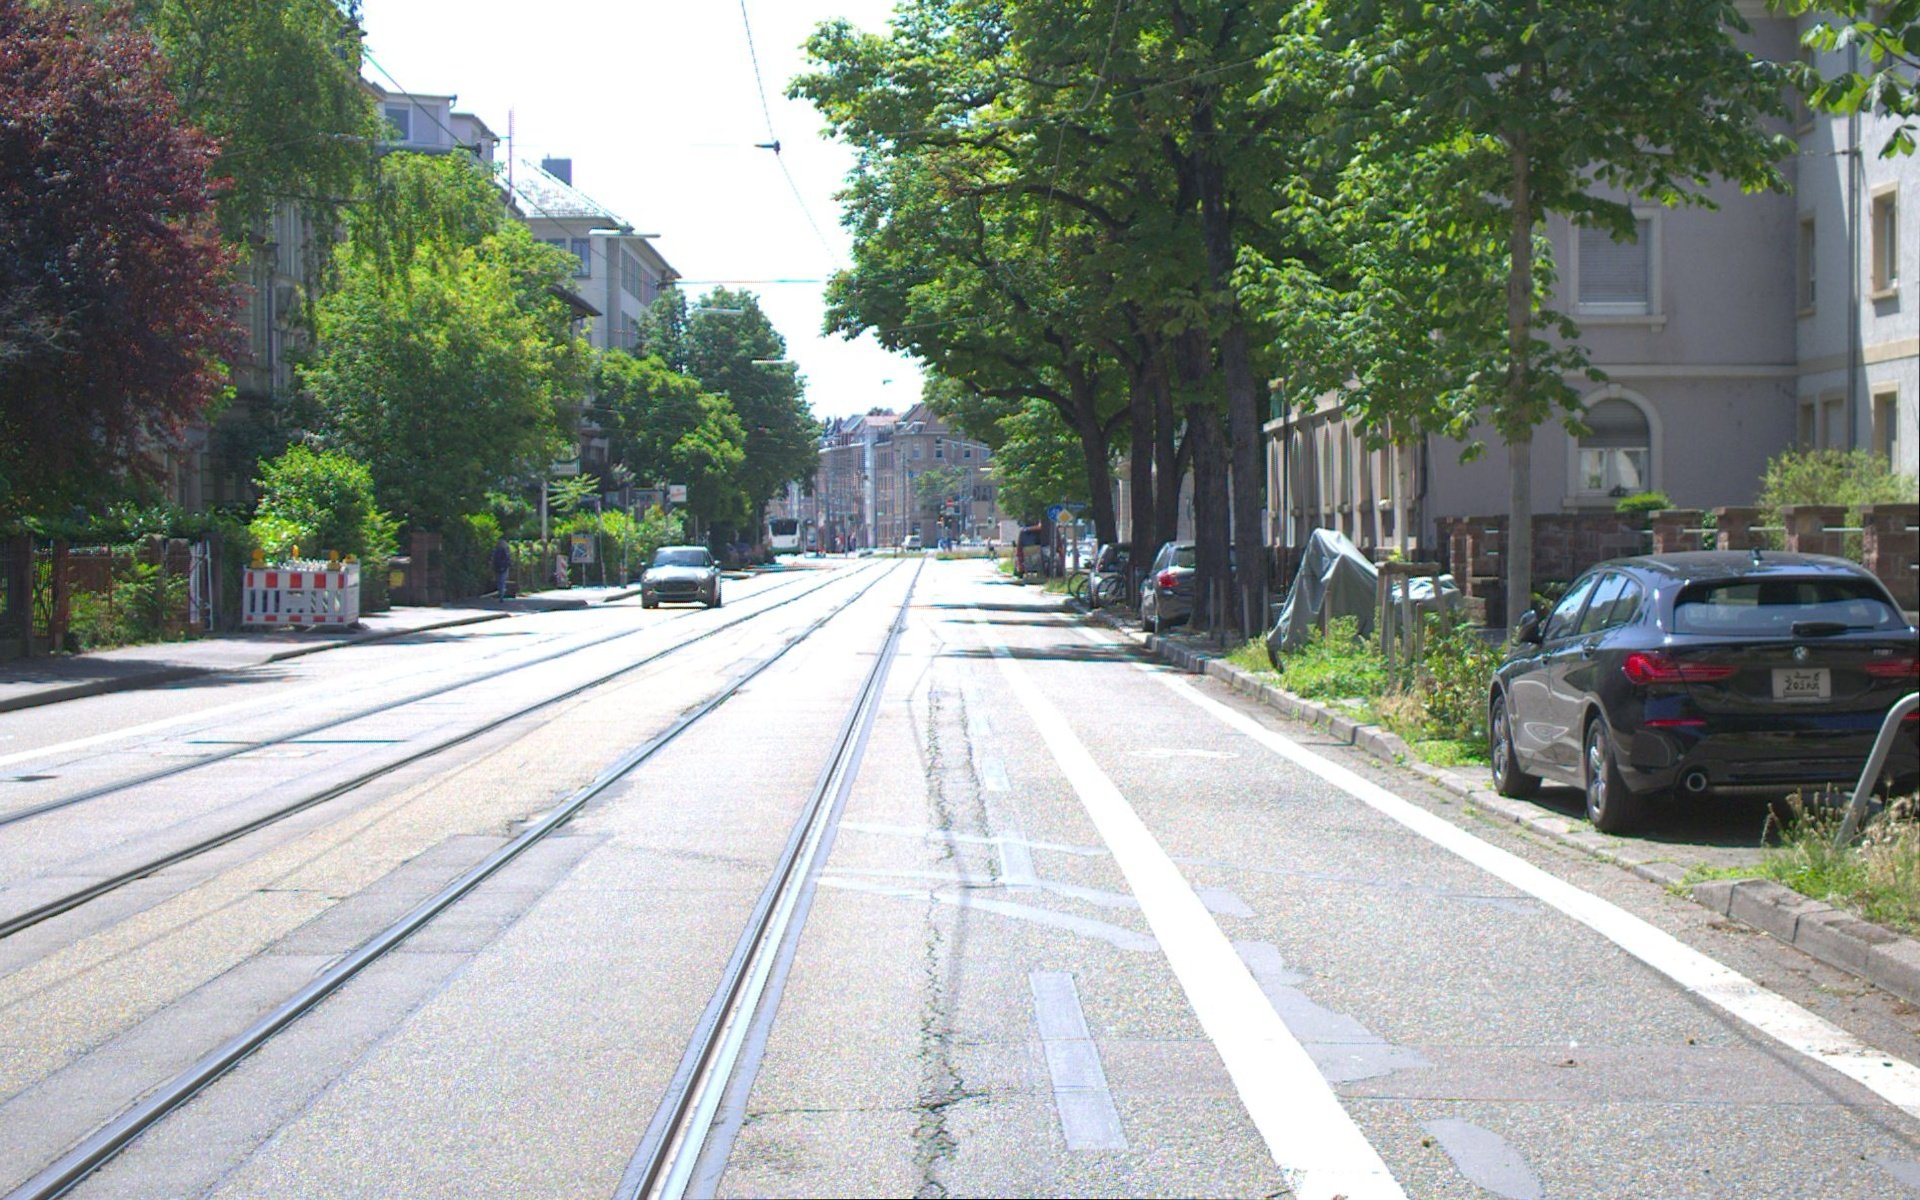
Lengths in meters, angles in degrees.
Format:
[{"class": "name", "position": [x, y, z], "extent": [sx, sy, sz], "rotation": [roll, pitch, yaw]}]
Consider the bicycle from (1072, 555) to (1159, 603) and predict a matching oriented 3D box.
[{"class": "bicycle", "position": [3.621, -0.478, 80.009], "extent": [2.010, 1.109, 0.640], "rotation": [0, -1, 2]}]

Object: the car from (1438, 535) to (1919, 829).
[{"class": "car", "position": [4.050, 0.364, 19.442], "extent": [1.769, 1.422, 4.863], "rotation": [1, 1, -3]}]

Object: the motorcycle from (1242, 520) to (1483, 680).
[{"class": "motorcycle", "position": [4.042, -0.019, 34.699], "extent": [2.319, 1.535, 0.867], "rotation": [2, 1, 43]}]

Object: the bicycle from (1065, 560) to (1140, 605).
[{"class": "bicycle", "position": [3.480, -0.423, 84.198], "extent": [1.816, 1.109, 0.493], "rotation": [0, -1, -1]}]

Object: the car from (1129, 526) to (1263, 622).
[{"class": "car", "position": [3.822, -0.449, 56.309], "extent": [1.774, 1.496, 4.306], "rotation": [0, 1, -1]}]

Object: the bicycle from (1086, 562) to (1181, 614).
[{"class": "bicycle", "position": [3.547, -0.246, 70.213], "extent": [1.890, 1.048, 0.538], "rotation": [1, 0, 7]}]

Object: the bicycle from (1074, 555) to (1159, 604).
[{"class": "bicycle", "position": [3.612, -0.472, 79.345], "extent": [1.963, 1.109, 0.598], "rotation": [0, -1, 2]}]

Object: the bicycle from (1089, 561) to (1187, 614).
[{"class": "bicycle", "position": [3.662, -0.253, 70.587], "extent": [1.964, 1.059, 0.598], "rotation": [1, 0, 7]}]

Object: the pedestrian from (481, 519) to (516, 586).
[{"class": "pedestrian", "position": [-11.364, -1.158, 84.627], "extent": [0.750, 1.623, 0.833], "rotation": [1, 0, -4]}]

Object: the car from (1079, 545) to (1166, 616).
[{"class": "car", "position": [3.513, -0.421, 74.853], "extent": [1.621, 1.443, 3.810], "rotation": [-2, 0, -1]}]

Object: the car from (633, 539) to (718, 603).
[{"class": "car", "position": [-6.638, -0.687, 80.443], "extent": [1.686, 1.449, 3.748], "rotation": [1, 1, -1]}]

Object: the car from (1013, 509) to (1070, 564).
[{"class": "car", "position": [3.072, -2.424, 130.726], "extent": [1.993, 2.028, 4.697], "rotation": [1, 1, 0]}]
